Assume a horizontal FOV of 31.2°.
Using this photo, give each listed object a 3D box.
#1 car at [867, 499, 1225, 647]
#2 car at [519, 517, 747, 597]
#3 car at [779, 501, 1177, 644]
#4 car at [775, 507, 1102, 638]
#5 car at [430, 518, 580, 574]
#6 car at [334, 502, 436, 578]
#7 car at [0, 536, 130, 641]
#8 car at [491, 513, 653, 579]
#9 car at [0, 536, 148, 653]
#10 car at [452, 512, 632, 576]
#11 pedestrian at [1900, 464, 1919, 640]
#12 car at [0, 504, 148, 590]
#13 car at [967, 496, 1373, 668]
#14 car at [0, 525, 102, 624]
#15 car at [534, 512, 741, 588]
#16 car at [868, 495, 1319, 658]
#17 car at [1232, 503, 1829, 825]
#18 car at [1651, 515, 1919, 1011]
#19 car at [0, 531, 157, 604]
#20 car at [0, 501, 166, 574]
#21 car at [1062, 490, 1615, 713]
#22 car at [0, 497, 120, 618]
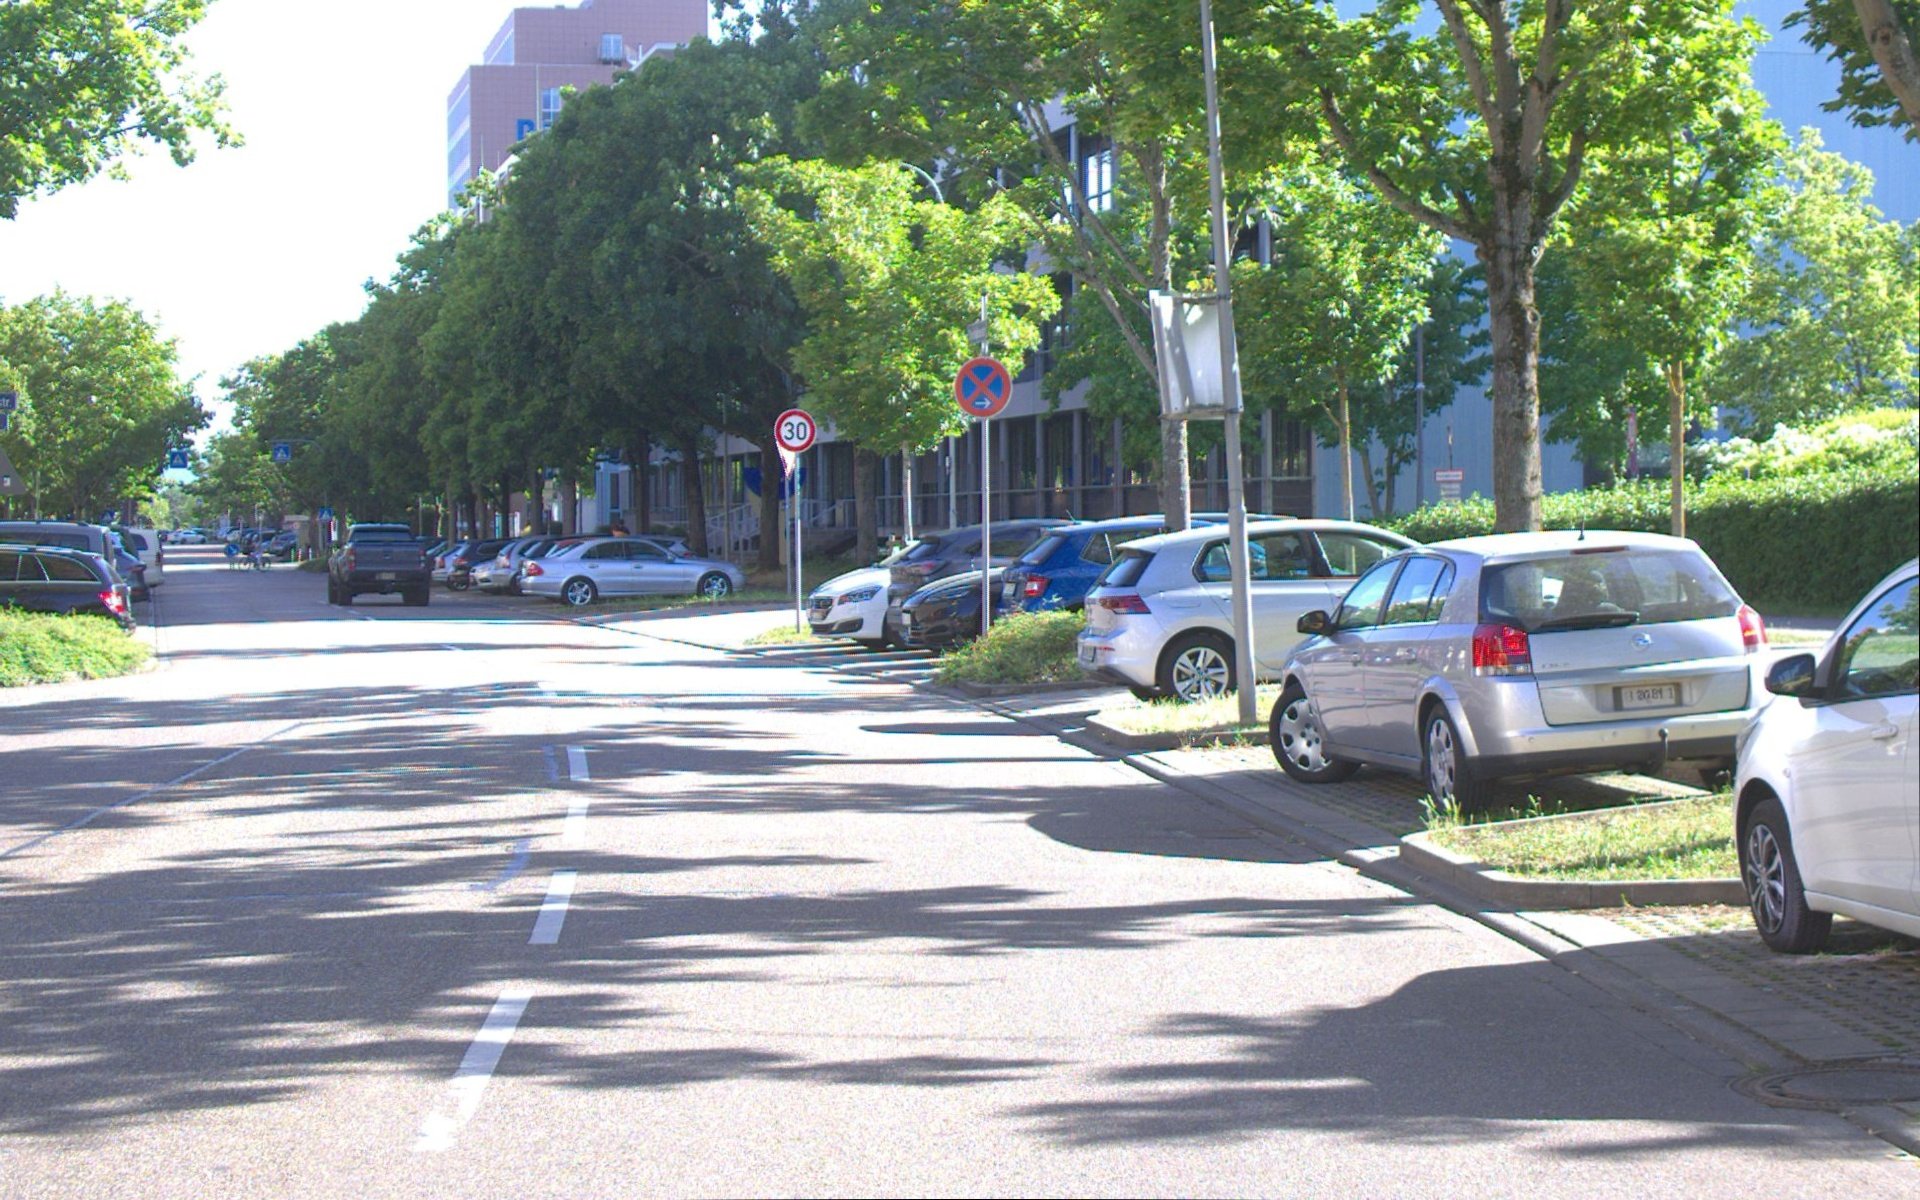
[{"bbox_3d":[0.999,-0.334,40.870,3.874,1.509,1.751,-3,1,-12],"label":"car"},{"bbox_3d":[-6.924,-0.913,72.675,4.577,1.470,1.747,-3,2,-12],"label":"car"},{"bbox_3d":[0.219,-0.356,43.325,4.548,1.509,1.983,-4,1,-19],"label":"car"},{"bbox_3d":[-0.298,-0.375,45.868,3.947,1.509,1.702,-4,1,-19],"label":"car"},{"bbox_3d":[-12.876,-1.538,97.155,3.968,1.415,1.711,-3,2,-15],"label":"car"},{"bbox_3d":[-13.036,-1.357,77.807,1.993,1.634,4.001,1,1,-13],"label":"car"},{"bbox_3d":[-13.596,-0.187,47.933,3.890,1.419,1.740,1,1,-13],"label":"car"},{"bbox_3d":[-9.823,-1.372,86.944,3.742,1.488,1.617,-3,2,-19],"label":"car"},{"bbox_3d":[-12.484,-0.105,43.325,4.261,1.419,1.740,1,1,-9],"label":"car"},{"bbox_3d":[-10.917,-1.462,89.792,4.284,1.488,2.004,-3,2,-20],"label":"car"},{"bbox_3d":[8.727,-0.426,30.051,0.606,1.537,0.937,-1,1,-11],"label":"pedestrian"},{"bbox_3d":[-22.851,-1.343,86.793,4.487,2.082,2.083,1,1,-11],"label":"car"},{"bbox_3d":[2.153,-0.202,35.759,3.804,1.443,1.745,-5,1,-11],"label":"car"},{"bbox_3d":[-14.642,-0.401,50.494,3.890,1.419,1.740,1,1,-13],"label":"car"},{"bbox_3d":[-7.355,-1.151,78.136,4.514,1.537,1.922,-2,2,-9],"label":"car"},{"bbox_3d":[1.453,-0.278,38.356,4.548,1.509,2.159,-3,1,-12],"label":"car"},{"bbox_3d":[3.030,0.272,19.366,1.808,1.488,4.625,-4,2,-10],"label":"car"},{"bbox_3d":[3.688,0.470,11.402,1.643,1.488,3.766,-3,2,-5],"label":"car"},{"bbox_3d":[-18.578,-0.674,69.735,4.401,1.422,1.773,1,1,-15],"label":"car"},{"bbox_3d":[-25.019,-1.751,96.527,5.256,1.960,1.943,1,1,-13],"label":"car"},{"bbox_3d":[3.009,-0.011,27.762,4.088,1.424,1.643,-5,1,-6],"label":"car"},{"bbox_3d":[-14.920,-0.670,52.742,3.890,1.805,1.786,1,1,-13],"label":"car"}]
